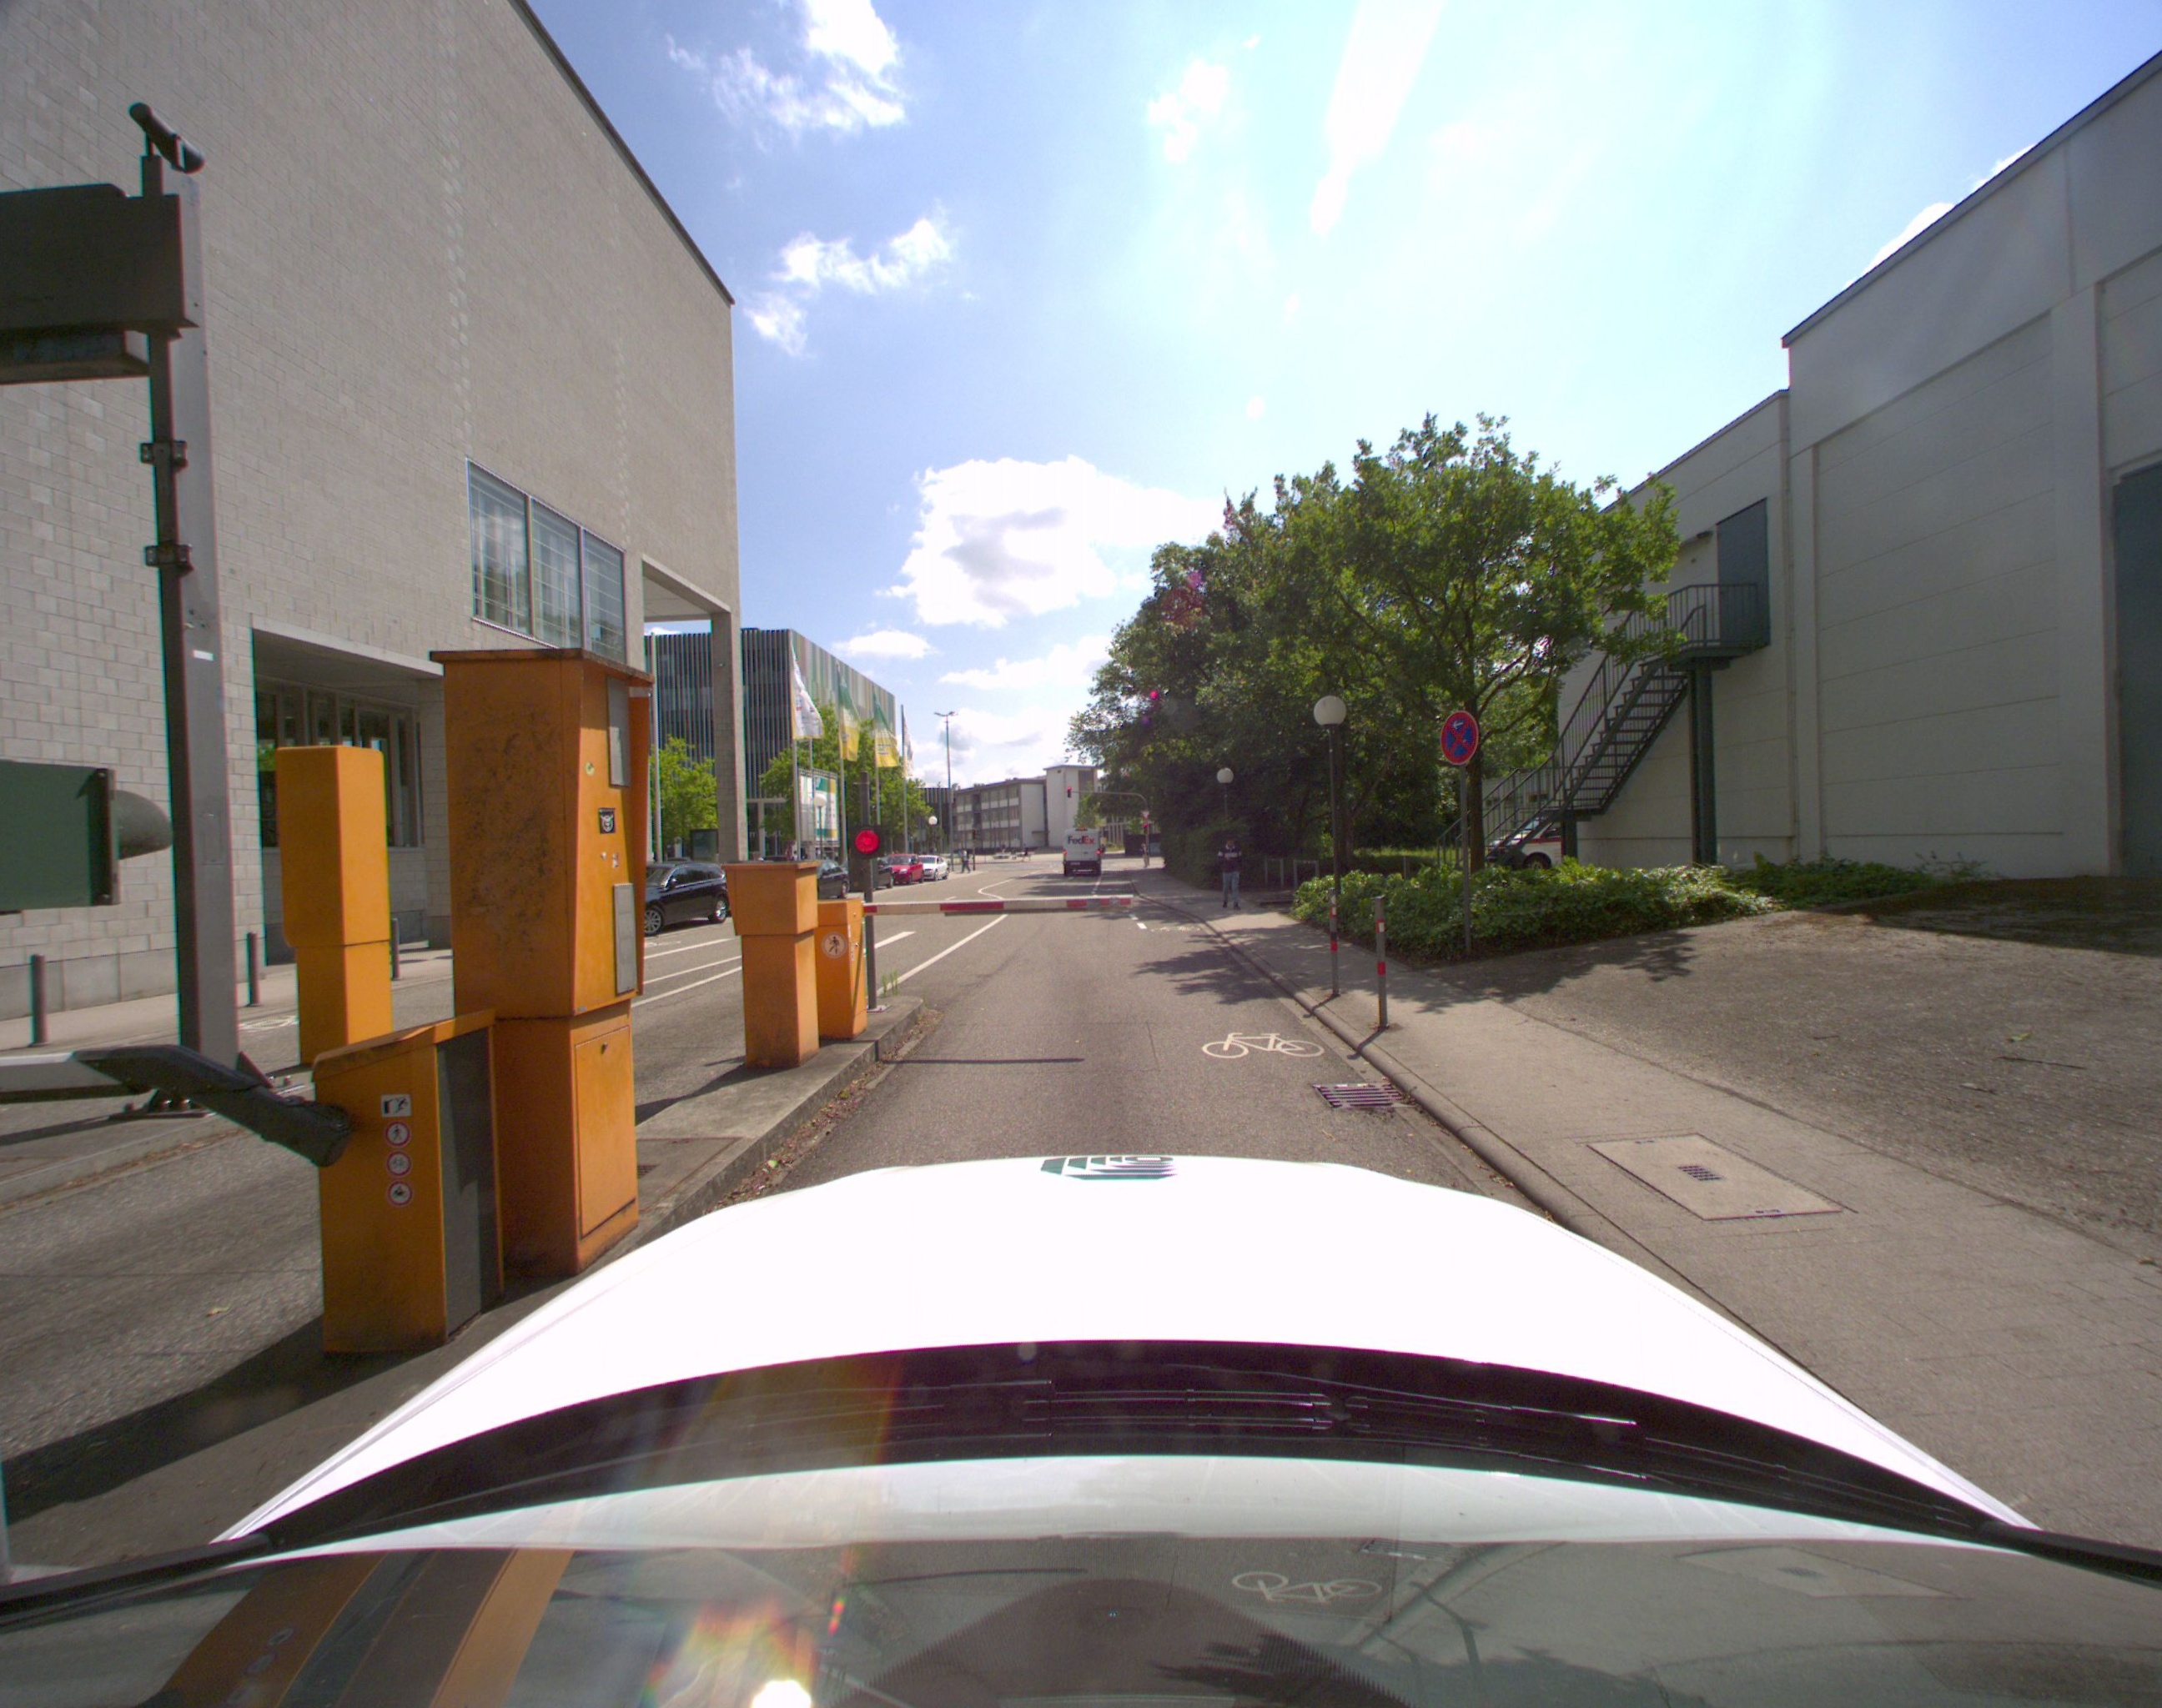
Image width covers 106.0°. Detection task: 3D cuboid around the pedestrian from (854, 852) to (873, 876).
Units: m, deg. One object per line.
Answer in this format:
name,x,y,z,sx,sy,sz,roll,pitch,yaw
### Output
pedestrian,-17.301,0.767,64.701,0.853,1.818,1.102,-2,1,25

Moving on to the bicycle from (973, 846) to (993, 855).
bicycle,-15.632,-0.589,129.996,2.978,1.363,1.105,-2,1,-36

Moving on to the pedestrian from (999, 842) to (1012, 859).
pedestrian,-9.113,-0.443,98.014,1.131,2.013,1.162,-2,1,19

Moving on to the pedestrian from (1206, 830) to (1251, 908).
pedestrian,3.309,0.322,18.383,0.737,1.674,1.256,-2,1,-1

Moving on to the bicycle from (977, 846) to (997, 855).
bicycle,-14.907,-0.624,128.921,2.978,1.363,1.105,-2,1,-36

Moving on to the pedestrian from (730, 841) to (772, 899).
pedestrian,-11.838,0.562,29.246,0.981,2.013,1.164,-2,1,-2

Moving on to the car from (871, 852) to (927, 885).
car,-8.865,0.684,39.964,1.670,1.467,3.914,0,1,3

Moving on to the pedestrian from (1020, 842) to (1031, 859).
pedestrian,-6.029,-0.380,88.083,1.077,1.870,0.832,-2,1,0

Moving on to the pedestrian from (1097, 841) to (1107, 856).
pedestrian,2.278,-0.604,88.194,0.827,1.523,0.810,-2,1,-17

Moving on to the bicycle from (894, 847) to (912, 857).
bicycle,-22.746,-0.293,104.025,1.206,1.237,2.919,-2,1,-35

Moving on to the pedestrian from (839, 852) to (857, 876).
pedestrian,-18.709,0.770,65.431,0.845,1.876,1.012,-2,1,25

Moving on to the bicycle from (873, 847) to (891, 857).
bicycle,-24.934,-0.219,101.851,1.206,1.237,2.920,-2,1,-34

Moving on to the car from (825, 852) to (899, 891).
car,-9.218,0.695,34.615,1.740,1.467,4.201,0,1,4

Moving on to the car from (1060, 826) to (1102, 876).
car,0.092,-0.207,45.372,2.087,2.566,5.605,-2,1,2

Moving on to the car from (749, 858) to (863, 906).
car,-9.149,0.880,27.621,1.851,1.378,5.022,0,1,4

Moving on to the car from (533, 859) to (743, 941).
car,-9.360,0.884,17.772,1.852,1.467,4.721,0,1,2

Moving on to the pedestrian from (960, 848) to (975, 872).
pedestrian,-8.171,0.432,58.530,0.839,1.651,0.747,-2,1,4

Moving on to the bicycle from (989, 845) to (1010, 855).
bicycle,-12.582,-0.613,125.616,2.978,1.363,1.262,-2,1,-36

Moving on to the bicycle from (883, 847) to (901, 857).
bicycle,-23.854,-0.253,102.605,1.206,1.237,2.920,-2,1,-34

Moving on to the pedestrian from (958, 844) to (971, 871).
pedestrian,-8.228,0.263,57.563,0.716,1.859,0.771,-2,1,4

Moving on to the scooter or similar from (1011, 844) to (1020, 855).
scooter or similar,-7.300,-0.466,90.625,0.716,1.178,2.717,-2,1,-8

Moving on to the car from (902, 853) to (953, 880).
car,-8.418,0.651,45.070,1.670,1.395,4.666,0,1,3

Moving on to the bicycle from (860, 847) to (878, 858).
bicycle,-26.175,-0.193,100.303,1.206,1.237,2.920,-2,1,-34

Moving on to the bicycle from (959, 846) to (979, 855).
bicycle,-18.504,-0.559,134.487,2.978,1.363,1.105,-2,1,-36

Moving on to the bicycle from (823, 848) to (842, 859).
bicycle,-29.850,-0.016,97.741,1.384,1.237,2.920,-2,1,-35

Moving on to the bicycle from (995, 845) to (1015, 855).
bicycle,-11.588,-0.624,124.323,2.978,1.363,1.105,-2,1,-36

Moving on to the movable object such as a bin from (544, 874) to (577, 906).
movable object such as a bin,-15.751,1.074,24.666,0.573,0.930,0.596,-1,0,2

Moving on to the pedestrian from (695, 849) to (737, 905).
pedestrian,-13.533,0.833,30.241,0.981,2.013,1.164,-2,1,-2

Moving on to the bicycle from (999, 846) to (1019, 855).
bicycle,-10.891,-0.524,123.203,2.978,1.363,1.105,-2,1,-36

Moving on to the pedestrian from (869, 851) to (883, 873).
pedestrian,-15.073,0.604,59.919,0.767,1.597,0.799,-2,1,4

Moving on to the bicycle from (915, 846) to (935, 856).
bicycle,-20.249,-0.367,105.517,1.208,1.237,2.915,-2,1,-43

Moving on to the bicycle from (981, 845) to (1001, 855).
bicycle,-14.162,-0.634,127.842,2.978,1.363,1.105,-2,1,-36

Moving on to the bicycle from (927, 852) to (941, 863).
bicycle,-16.009,0.389,88.880,0.765,1.122,2.033,-2,1,12

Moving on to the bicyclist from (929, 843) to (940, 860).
bicyclist,-16.029,-0.291,88.841,0.784,1.817,1.002,-2,1,12

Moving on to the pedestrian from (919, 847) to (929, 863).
pedestrian,-16.708,0.142,86.636,0.751,1.678,0.756,-2,1,1

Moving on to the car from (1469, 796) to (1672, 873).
car,14.605,-0.569,24.533,4.805,2.013,2.063,-2,1,2

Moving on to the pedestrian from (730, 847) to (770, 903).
pedestrian,-12.387,0.778,30.513,0.981,2.013,1.164,-2,1,-2

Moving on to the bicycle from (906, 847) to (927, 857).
bicycle,-21.153,-0.308,104.584,1.208,1.237,2.915,-2,1,-43

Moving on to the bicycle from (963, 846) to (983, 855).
bicycle,-17.667,-0.564,132.978,2.978,1.363,1.105,-2,1,-36

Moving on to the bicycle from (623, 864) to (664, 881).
bicycle,-31.833,1.356,59.290,2.600,1.113,0.665,-1,0,0

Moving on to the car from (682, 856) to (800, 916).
car,-9.382,0.837,22.811,1.632,1.467,3.709,0,1,2

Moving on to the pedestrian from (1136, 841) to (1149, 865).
pedestrian,4.241,-0.069,56.173,0.729,1.575,0.775,-1,0,-3

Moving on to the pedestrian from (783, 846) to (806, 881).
pedestrian,-15.460,0.509,43.943,0.716,1.850,1.090,-1,1,6
